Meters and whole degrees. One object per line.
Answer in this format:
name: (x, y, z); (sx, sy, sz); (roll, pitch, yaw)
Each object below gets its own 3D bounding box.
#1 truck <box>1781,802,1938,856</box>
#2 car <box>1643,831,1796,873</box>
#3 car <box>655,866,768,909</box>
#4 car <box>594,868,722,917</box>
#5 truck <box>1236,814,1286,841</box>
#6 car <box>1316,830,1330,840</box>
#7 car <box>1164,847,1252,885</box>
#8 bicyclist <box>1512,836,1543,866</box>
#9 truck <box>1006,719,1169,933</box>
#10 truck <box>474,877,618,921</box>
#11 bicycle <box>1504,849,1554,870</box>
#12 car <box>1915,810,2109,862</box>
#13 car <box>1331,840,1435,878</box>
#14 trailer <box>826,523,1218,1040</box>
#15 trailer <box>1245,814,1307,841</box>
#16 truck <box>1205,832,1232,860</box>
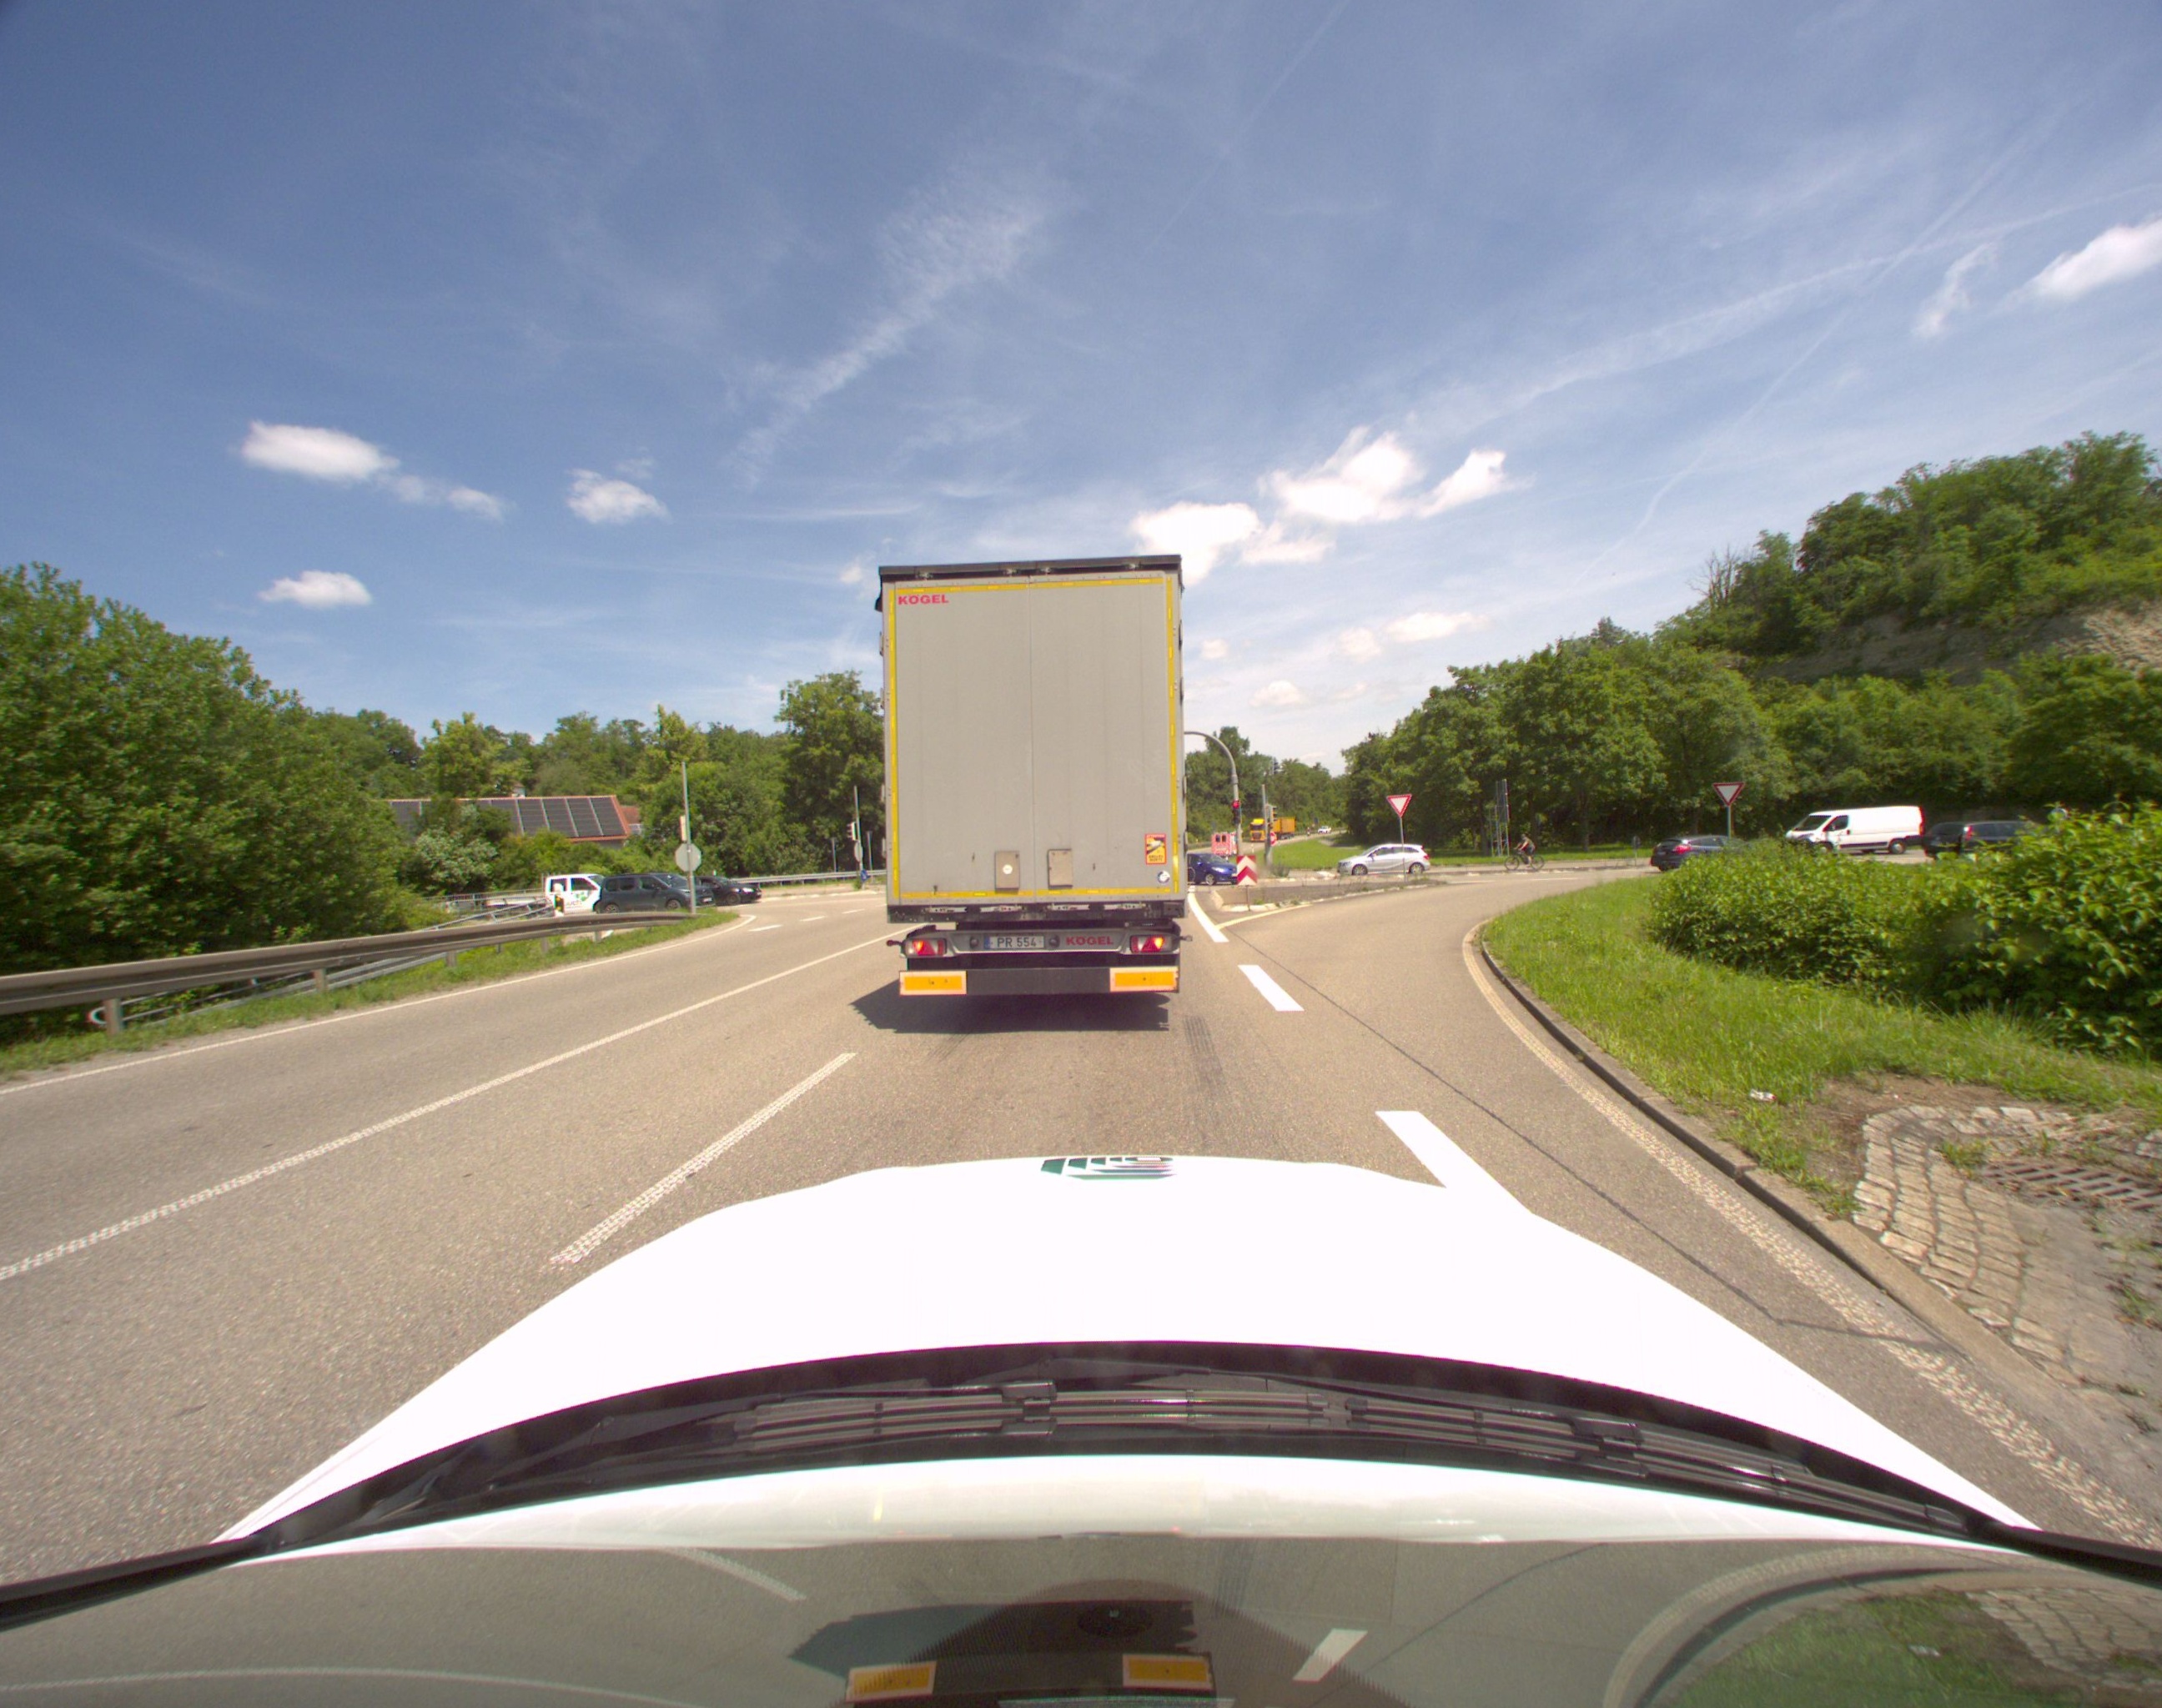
truck: (37.261, -1.156, 39.138); (5.110, 2.296, 2.007); (-1, -2, 12)
car: (24.476, -0.048, 31.365); (4.225, 1.491, 2.002); (-1, -2, 4)
car: (-16.731, 1.487, 36.986); (4.206, 1.770, 2.006); (-2, -1, 11)
car: (-17.030, 1.537, 32.856); (4.206, 1.770, 2.006); (-2, -1, 11)
truck: (31.634, -4.598, 142.510); (4.963, 4.362, 11.840); (-2, 1, 31)
car: (51.514, -4.067, 173.346); (1.975, 2.013, 4.025); (-2, 0, 28)
car: (5.698, 0.571, 36.888); (1.888, 1.613, 3.817); (1, -3, -33)
bicyclist: (21.672, -0.136, 39.560); (1.002, 1.448, 0.795); (-1, -2, -1)
truck: (0.343, -0.533, 19.034); (3.025, 4.034, 6.636); (-2, 0, 4)
truck: (-23.566, 1.975, 36.097); (4.877, 1.791, 2.035); (0, -2, -11)
bicycle: (21.755, 0.267, 39.541); (1.983, 0.995, 0.797); (-1, -2, -1)
car: (35.606, -0.663, 31.272); (4.904, 1.785, 2.002); (-1, -2, 4)
car: (14.720, 0.280, 39.927); (4.405, 1.719, 2.003); (-1, -2, 6)
trailer: (-0.074, -0.552, 12.784); (3.038, 4.034, 12.571); (-2, 0, 4)
trailer: (36.201, -4.862, 150.247); (4.963, 4.362, 20.971); (-2, 1, 31)
truck: (15.064, -0.795, 88.933); (2.476, 2.728, 6.051); (-1, -2, 13)
